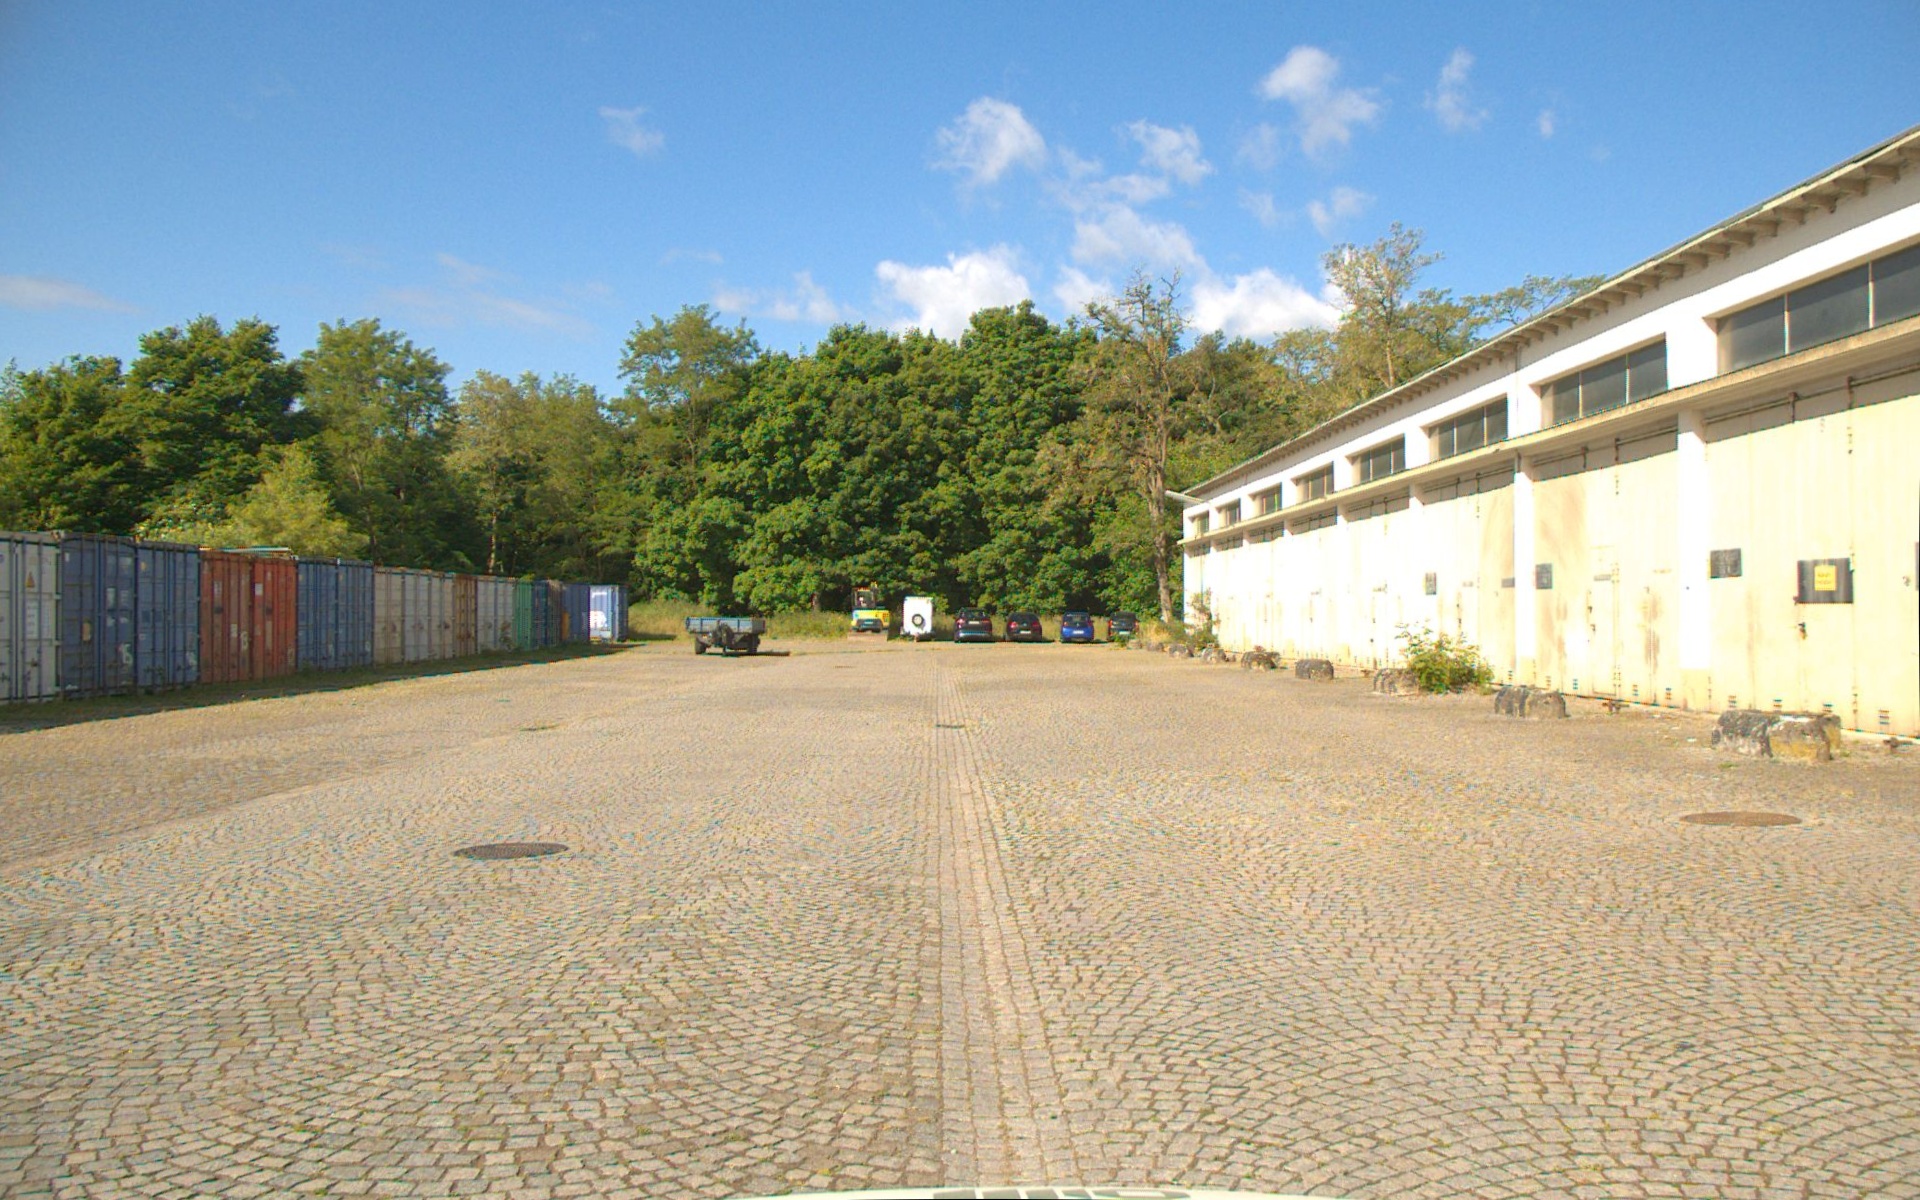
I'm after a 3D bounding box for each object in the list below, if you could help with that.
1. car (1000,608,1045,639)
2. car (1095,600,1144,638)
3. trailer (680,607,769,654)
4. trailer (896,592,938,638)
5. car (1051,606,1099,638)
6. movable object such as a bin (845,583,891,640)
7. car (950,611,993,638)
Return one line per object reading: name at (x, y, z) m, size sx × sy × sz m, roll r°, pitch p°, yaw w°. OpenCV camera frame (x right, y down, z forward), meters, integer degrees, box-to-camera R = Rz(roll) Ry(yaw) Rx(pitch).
car at (3.011, 1.124, 80.345) m, size 1.953 × 1.449 × 3.999 m, roll -1°, pitch 0°, yaw -1°
car at (7.843, 0.918, 81.681) m, size 1.953 × 1.803 × 3.999 m, roll -1°, pitch 0°, yaw -1°
trailer at (-8.807, 1.118, 62.406) m, size 2.735 × 1.675 × 5.618 m, roll -1°, pitch -1°, yaw -2°
trailer at (-2.100, 0.726, 81.104) m, size 1.953 × 2.200 × 4.430 m, roll -1°, pitch 0°, yaw -1°
car at (5.550, 1.056, 80.388) m, size 1.953 × 1.492 × 3.999 m, roll -1°, pitch 0°, yaw -1°
movable object such as a bin at (-4.527, 0.572, 81.813) m, size 2.187 × 2.704 × 3.997 m, roll -1°, pitch 0°, yaw -3°
car at (0.540, 1.173, 79.920) m, size 1.953 × 1.280 × 3.999 m, roll -1°, pitch 0°, yaw -1°
